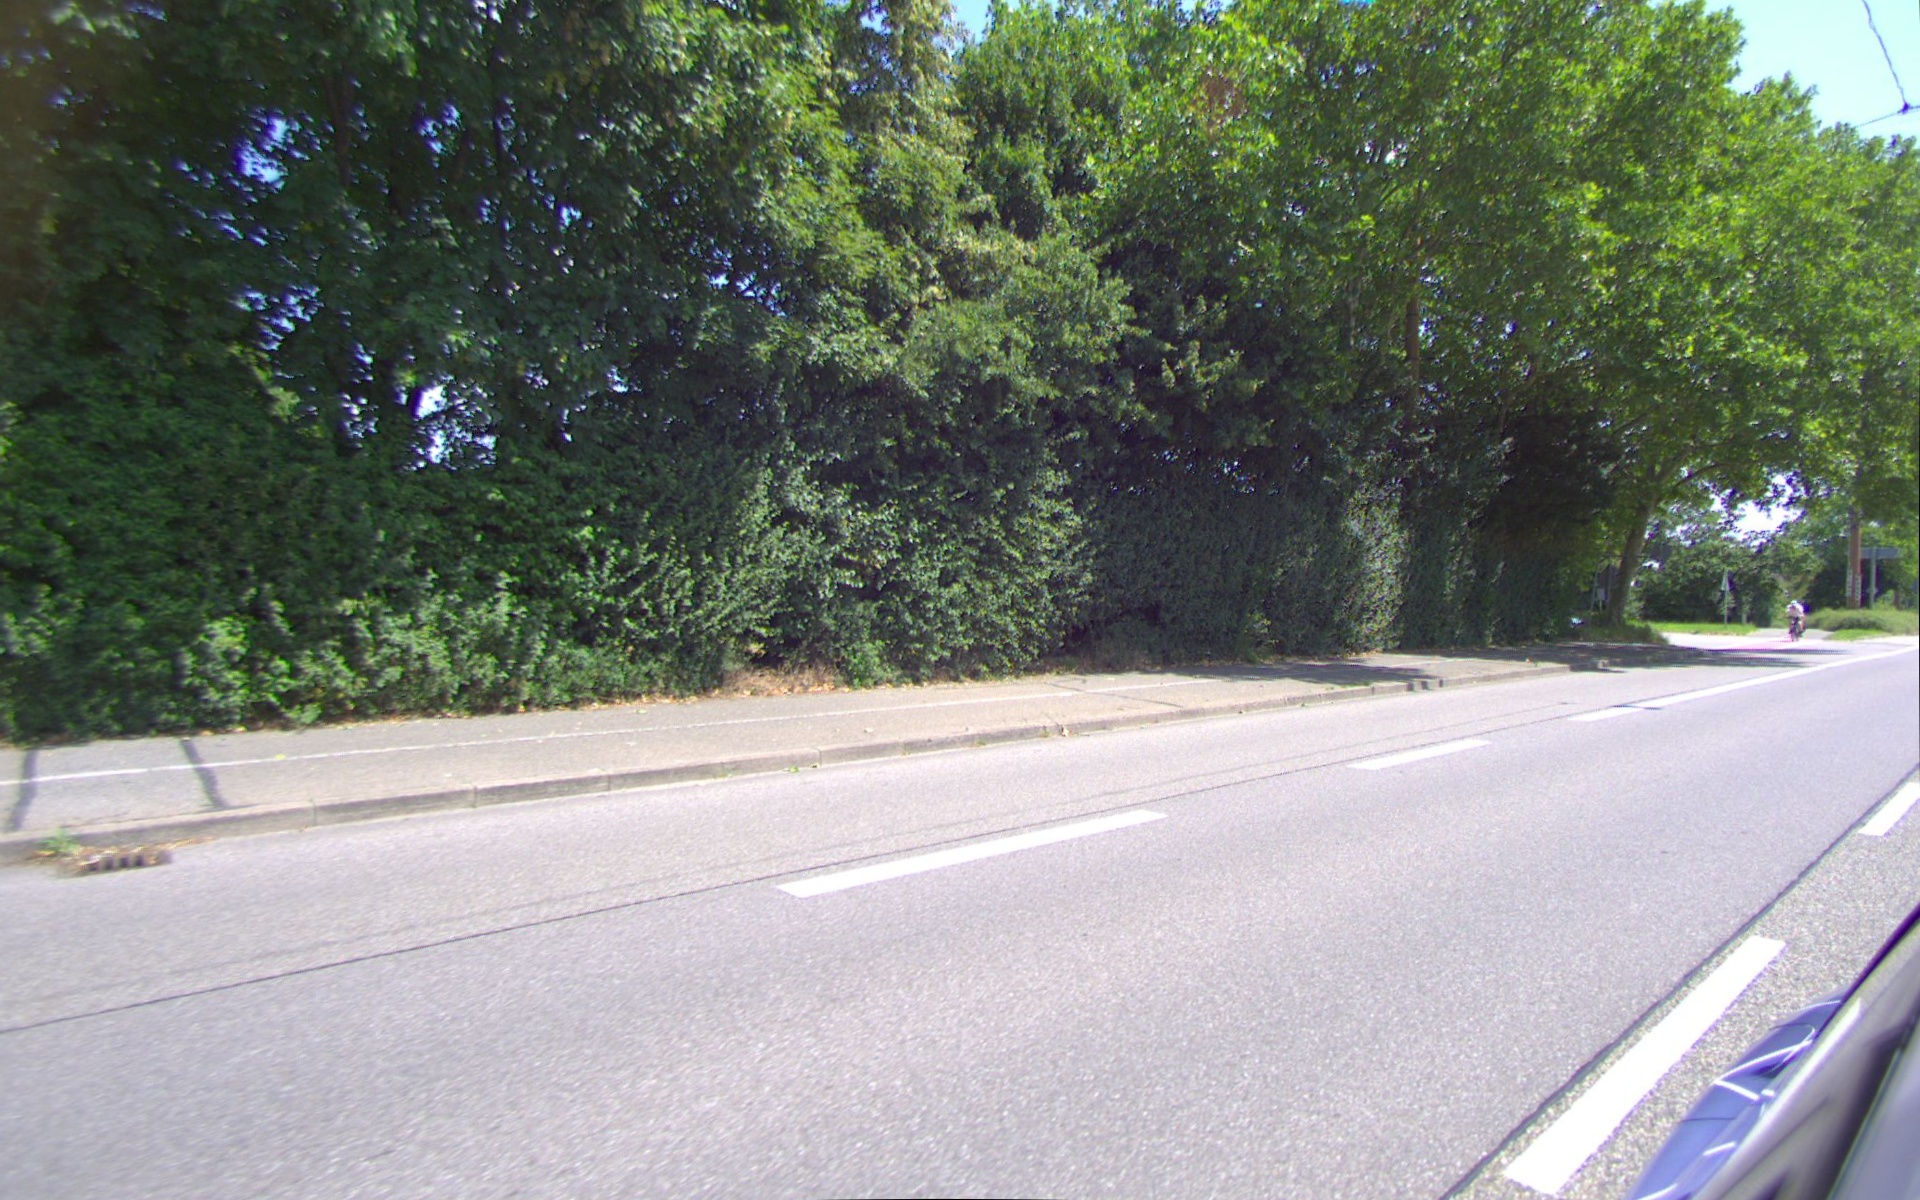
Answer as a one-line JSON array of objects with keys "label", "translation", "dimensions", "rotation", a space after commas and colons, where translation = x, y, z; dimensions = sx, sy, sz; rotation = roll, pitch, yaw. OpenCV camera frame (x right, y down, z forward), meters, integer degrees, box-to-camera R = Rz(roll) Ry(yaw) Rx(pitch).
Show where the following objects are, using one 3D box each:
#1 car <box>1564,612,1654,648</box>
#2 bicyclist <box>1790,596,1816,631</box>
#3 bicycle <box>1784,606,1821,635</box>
[{"label": "car", "translation": [35.994, 1.668, 56.185], "dimensions": [3.916, 1.883, 2.004], "rotation": [1, 1, -13]}, {"label": "bicyclist", "translation": [35.291, 0.555, 42.369], "dimensions": [0.629, 1.457, 0.704], "rotation": [0, 1, -39]}, {"label": "bicycle", "translation": [35.314, 0.854, 42.388], "dimensions": [2.492, 1.152, 0.710], "rotation": [0, 1, -39]}]
